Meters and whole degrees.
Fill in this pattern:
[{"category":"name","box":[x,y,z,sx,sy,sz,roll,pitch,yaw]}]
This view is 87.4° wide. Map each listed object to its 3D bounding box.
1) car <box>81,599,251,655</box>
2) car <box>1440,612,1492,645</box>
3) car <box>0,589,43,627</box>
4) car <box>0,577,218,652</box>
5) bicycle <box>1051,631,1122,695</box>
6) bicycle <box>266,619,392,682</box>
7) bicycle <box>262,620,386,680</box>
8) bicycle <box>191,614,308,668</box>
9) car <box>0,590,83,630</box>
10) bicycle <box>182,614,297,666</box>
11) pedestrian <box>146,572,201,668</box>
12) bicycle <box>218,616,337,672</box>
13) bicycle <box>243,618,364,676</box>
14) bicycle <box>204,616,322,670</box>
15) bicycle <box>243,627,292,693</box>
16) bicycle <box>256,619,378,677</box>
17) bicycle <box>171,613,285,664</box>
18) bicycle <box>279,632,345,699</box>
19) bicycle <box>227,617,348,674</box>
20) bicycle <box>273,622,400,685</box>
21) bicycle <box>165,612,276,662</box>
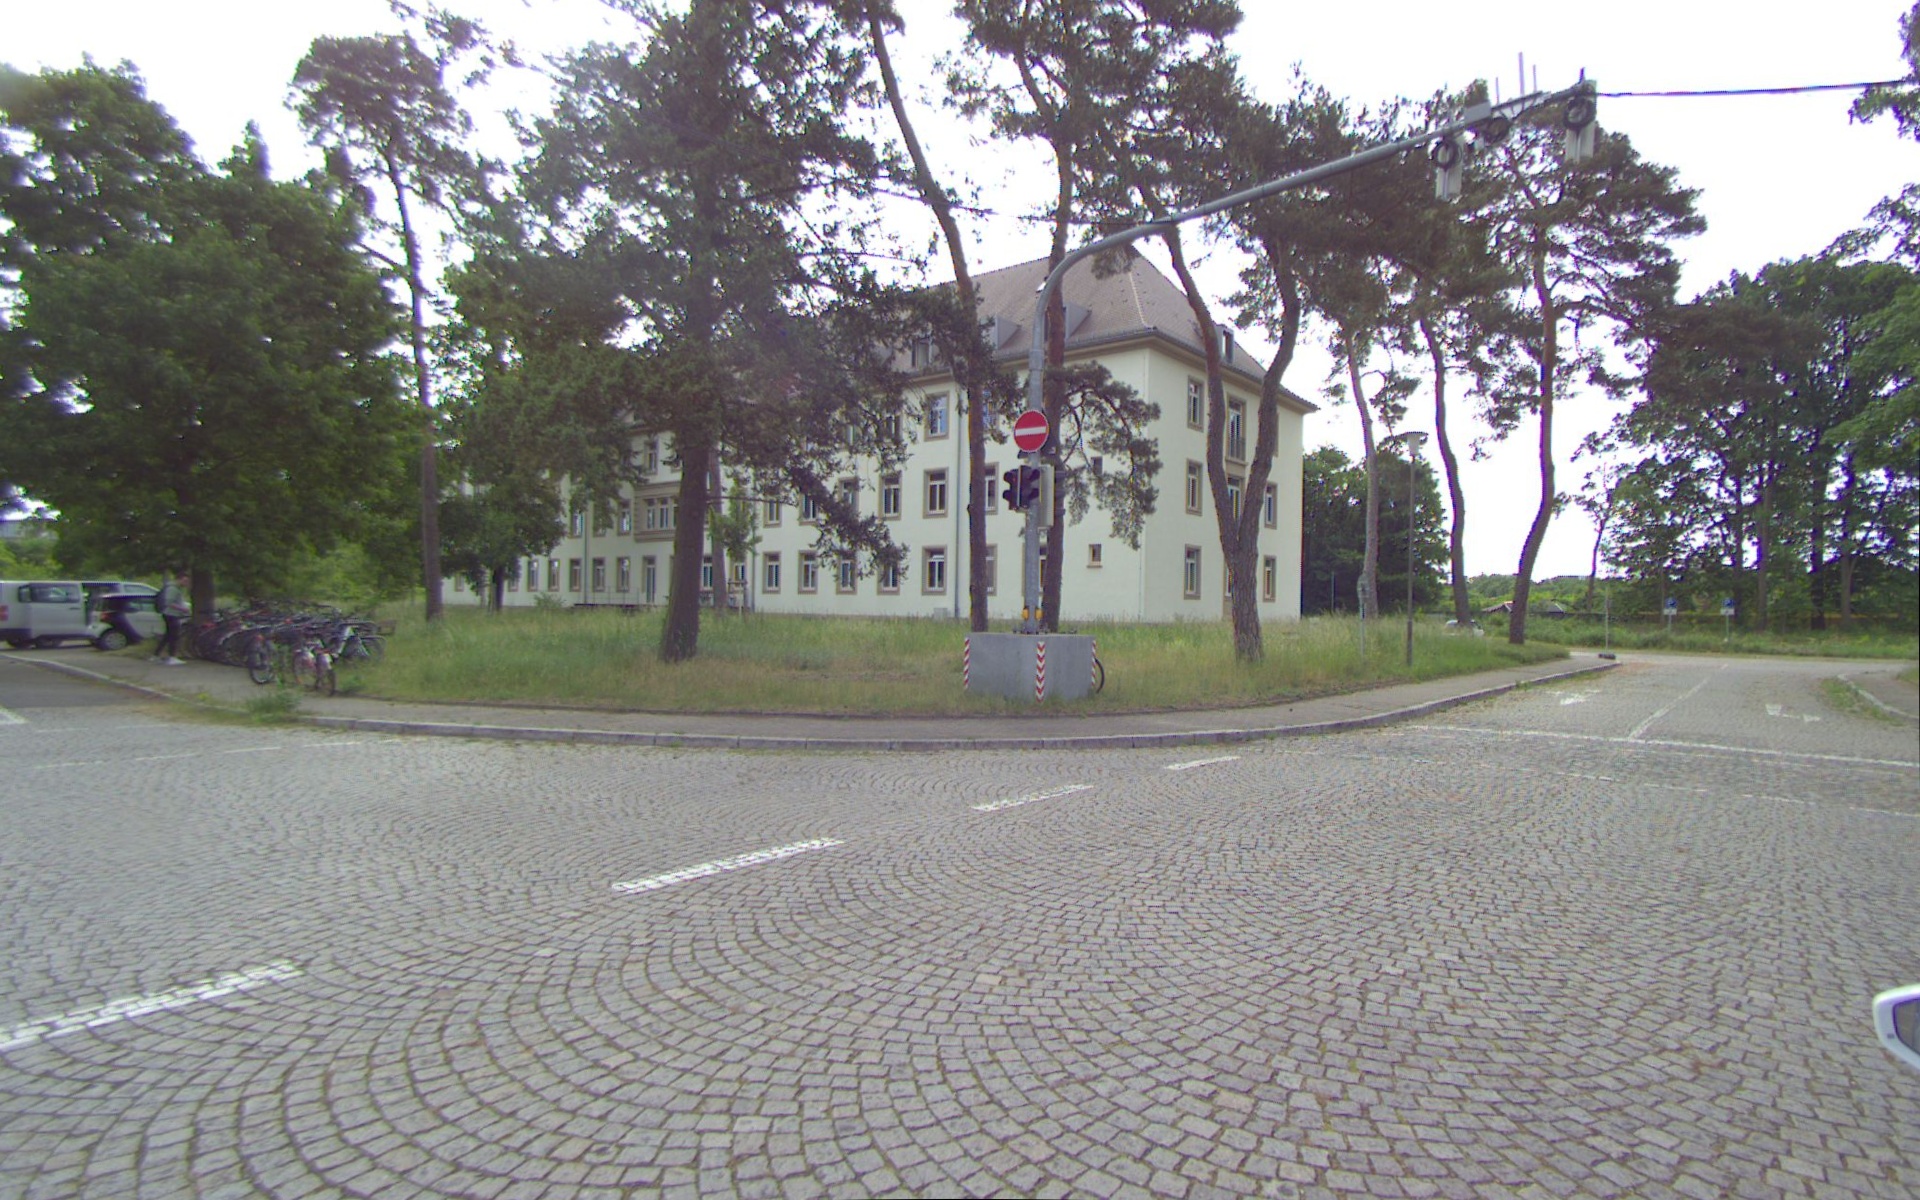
[{"category":"car","box":[-22.348,0.730,28.339,1.883,1.468,3.428,1,-1,38]},{"category":"car","box":[29.185,1.607,57.894,1.697,1.831,3.978,1,-1,42]},{"category":"car","box":[-38.717,0.296,39.691,1.883,1.468,3.428,1,-1,38]},{"category":"car","box":[-25.700,0.429,29.892,2.251,2.026,5.355,1,-1,31]},{"category":"bicycle","box":[1.941,0.961,15.446,1.033,0.928,0.293,1,0,18]},{"category":"bicycle","box":[-11.887,0.925,18.979,0.554,1.125,1.944,1,0,38]},{"category":"bicycle","box":[-12.235,0.939,19.376,0.554,1.079,1.944,1,0,38]},{"category":"bicycle","box":[-15.079,0.857,21.357,0.554,1.079,1.944,1,0,38]},{"category":"car","box":[-35.987,0.375,38.381,1.883,1.468,3.428,1,-1,38]},{"category":"bicycle","box":[-15.620,0.842,21.825,0.554,1.079,1.944,1,0,38]},{"category":"pedestrian","box":[-16.389,0.415,20.941,0.579,1.963,0.790,1,0,40]},{"category":"bicycle","box":[-14.024,0.885,20.695,0.554,1.079,1.944,1,0,38]},{"category":"bicycle","box":[-13.090,0.915,20.093,0.554,1.079,1.944,1,0,38]},{"category":"bicycle","box":[-14.502,0.872,20.960,0.554,1.079,1.944,1,0,38]},{"category":"bicycle","box":[-11.290,0.945,16.356,0.456,0.987,1.642,1,0,-41]},{"category":"bicycle","box":[-12.670,0.928,19.852,0.554,1.079,1.944,1,0,38]},{"category":"bicycle","box":[-16.159,0.828,22.218,0.554,1.079,1.944,1,0,38]},{"category":"bicycle","box":[-9.862,0.967,15.267,1.639,0.921,0.457,0,0,44]},{"category":"bicycle","box":[-13.602,0.896,20.370,0.554,1.079,1.944,1,0,38]},{"category":"bicycle","box":[-11.503,0.959,18.584,0.607,1.079,1.892,1,0,38]},{"category":"bicycle","box":[-16.608,0.815,22.603,0.554,1.079,1.944,1,0,38]}]
